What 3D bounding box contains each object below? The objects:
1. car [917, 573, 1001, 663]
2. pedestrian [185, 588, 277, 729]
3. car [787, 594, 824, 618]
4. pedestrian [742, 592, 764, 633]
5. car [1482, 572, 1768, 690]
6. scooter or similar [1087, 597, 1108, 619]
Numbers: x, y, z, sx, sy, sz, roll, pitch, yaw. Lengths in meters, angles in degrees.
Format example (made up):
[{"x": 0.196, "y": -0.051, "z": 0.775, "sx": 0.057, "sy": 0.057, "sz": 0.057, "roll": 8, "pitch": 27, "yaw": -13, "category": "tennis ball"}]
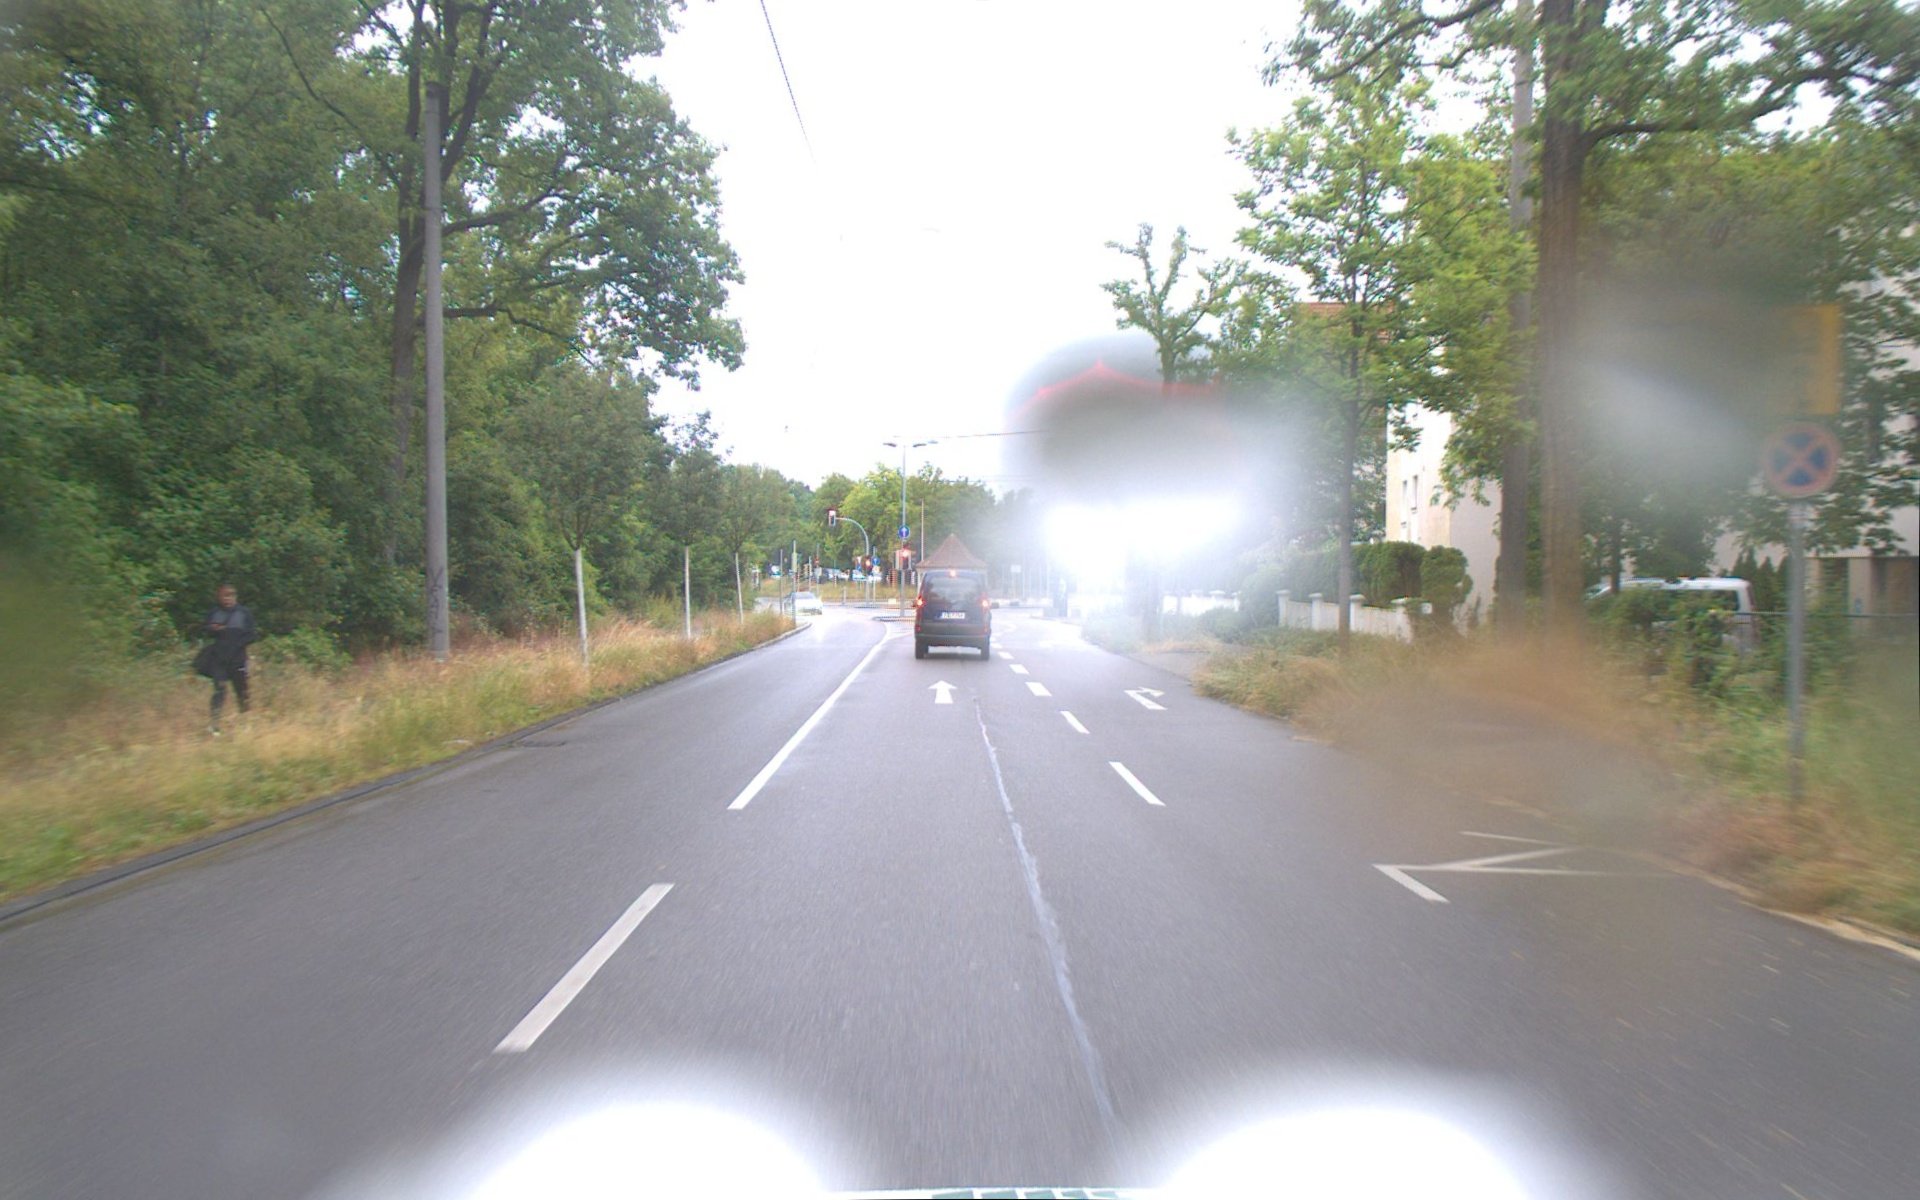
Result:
[{"x": -0.051, "y": 0.352, "z": 36.040, "sx": 1.696, "sy": 1.817, "sz": 3.999, "roll": 1, "pitch": 0, "yaw": -1, "category": "car"}, {"x": -8.594, "y": 0.674, "z": 19.513, "sx": 0.765, "sy": 1.636, "sz": 0.732, "roll": 0, "pitch": 0, "yaw": -2, "category": "pedestrian"}, {"x": -9.468, "y": 0.328, "z": 101.206, "sx": 1.957, "sy": 1.334, "sz": 4.350, "roll": -2, "pitch": 1, "yaw": -9, "category": "car"}, {"x": -10.684, "y": 0.642, "z": 85.368, "sx": 1.066, "sy": 2.049, "sz": 0.999, "roll": 1, "pitch": -1, "yaw": -4, "category": "pedestrian"}, {"x": 11.258, "y": 0.498, "z": 28.287, "sx": 4.212, "sy": 1.849, "sz": 1.876, "roll": 1, "pitch": 0, "yaw": 10, "category": "car"}, {"x": 7.801, "y": 0.445, "z": 93.860, "sx": 1.125, "sy": 1.240, "sz": 0.406, "roll": 1, "pitch": -1, "yaw": 0, "category": "scooter or similar"}]
